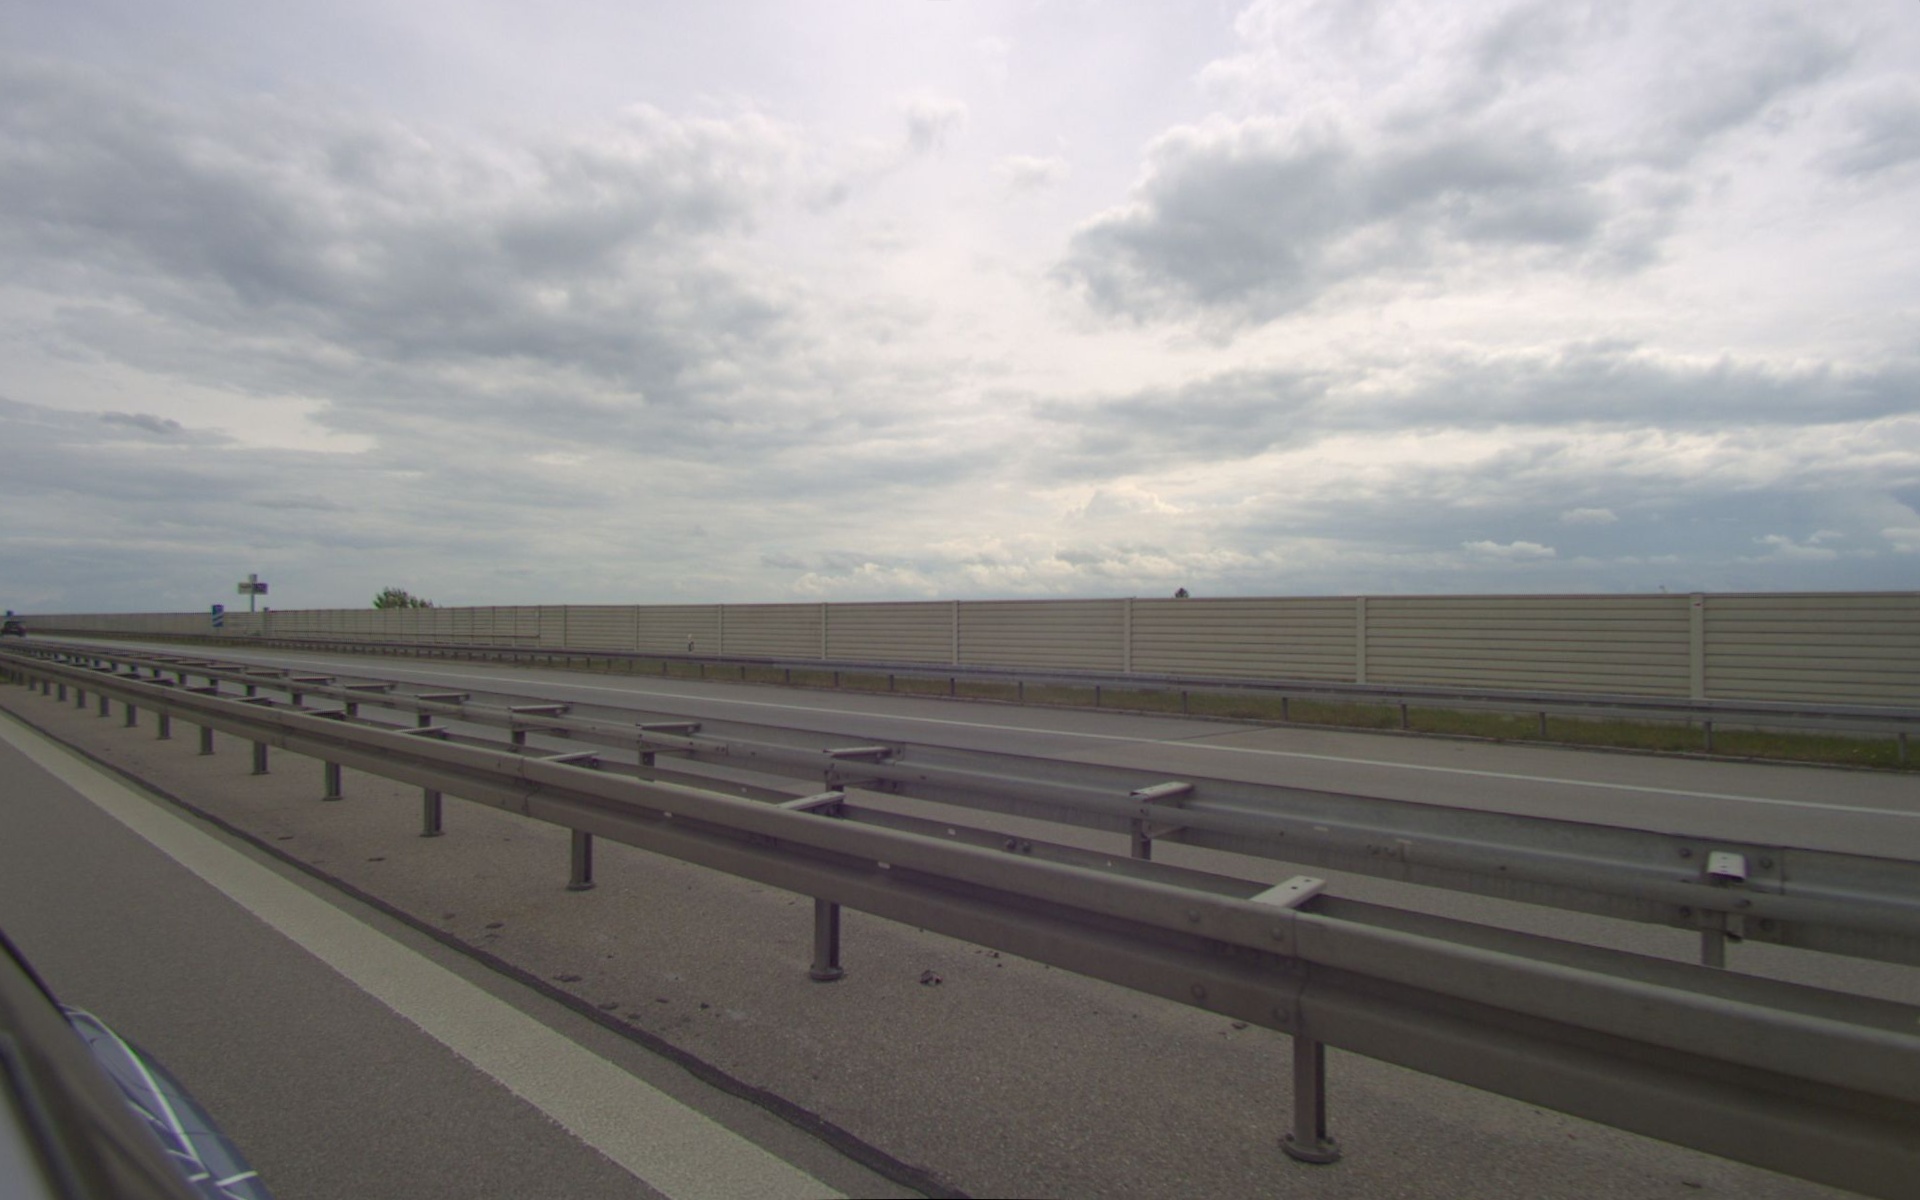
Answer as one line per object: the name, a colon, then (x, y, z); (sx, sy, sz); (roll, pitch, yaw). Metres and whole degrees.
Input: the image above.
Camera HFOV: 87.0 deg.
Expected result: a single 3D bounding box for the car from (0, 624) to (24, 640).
car: (-83.761, 2.814, 89.007); (3.998, 1.397, 1.653); (-1, -3, 41)
